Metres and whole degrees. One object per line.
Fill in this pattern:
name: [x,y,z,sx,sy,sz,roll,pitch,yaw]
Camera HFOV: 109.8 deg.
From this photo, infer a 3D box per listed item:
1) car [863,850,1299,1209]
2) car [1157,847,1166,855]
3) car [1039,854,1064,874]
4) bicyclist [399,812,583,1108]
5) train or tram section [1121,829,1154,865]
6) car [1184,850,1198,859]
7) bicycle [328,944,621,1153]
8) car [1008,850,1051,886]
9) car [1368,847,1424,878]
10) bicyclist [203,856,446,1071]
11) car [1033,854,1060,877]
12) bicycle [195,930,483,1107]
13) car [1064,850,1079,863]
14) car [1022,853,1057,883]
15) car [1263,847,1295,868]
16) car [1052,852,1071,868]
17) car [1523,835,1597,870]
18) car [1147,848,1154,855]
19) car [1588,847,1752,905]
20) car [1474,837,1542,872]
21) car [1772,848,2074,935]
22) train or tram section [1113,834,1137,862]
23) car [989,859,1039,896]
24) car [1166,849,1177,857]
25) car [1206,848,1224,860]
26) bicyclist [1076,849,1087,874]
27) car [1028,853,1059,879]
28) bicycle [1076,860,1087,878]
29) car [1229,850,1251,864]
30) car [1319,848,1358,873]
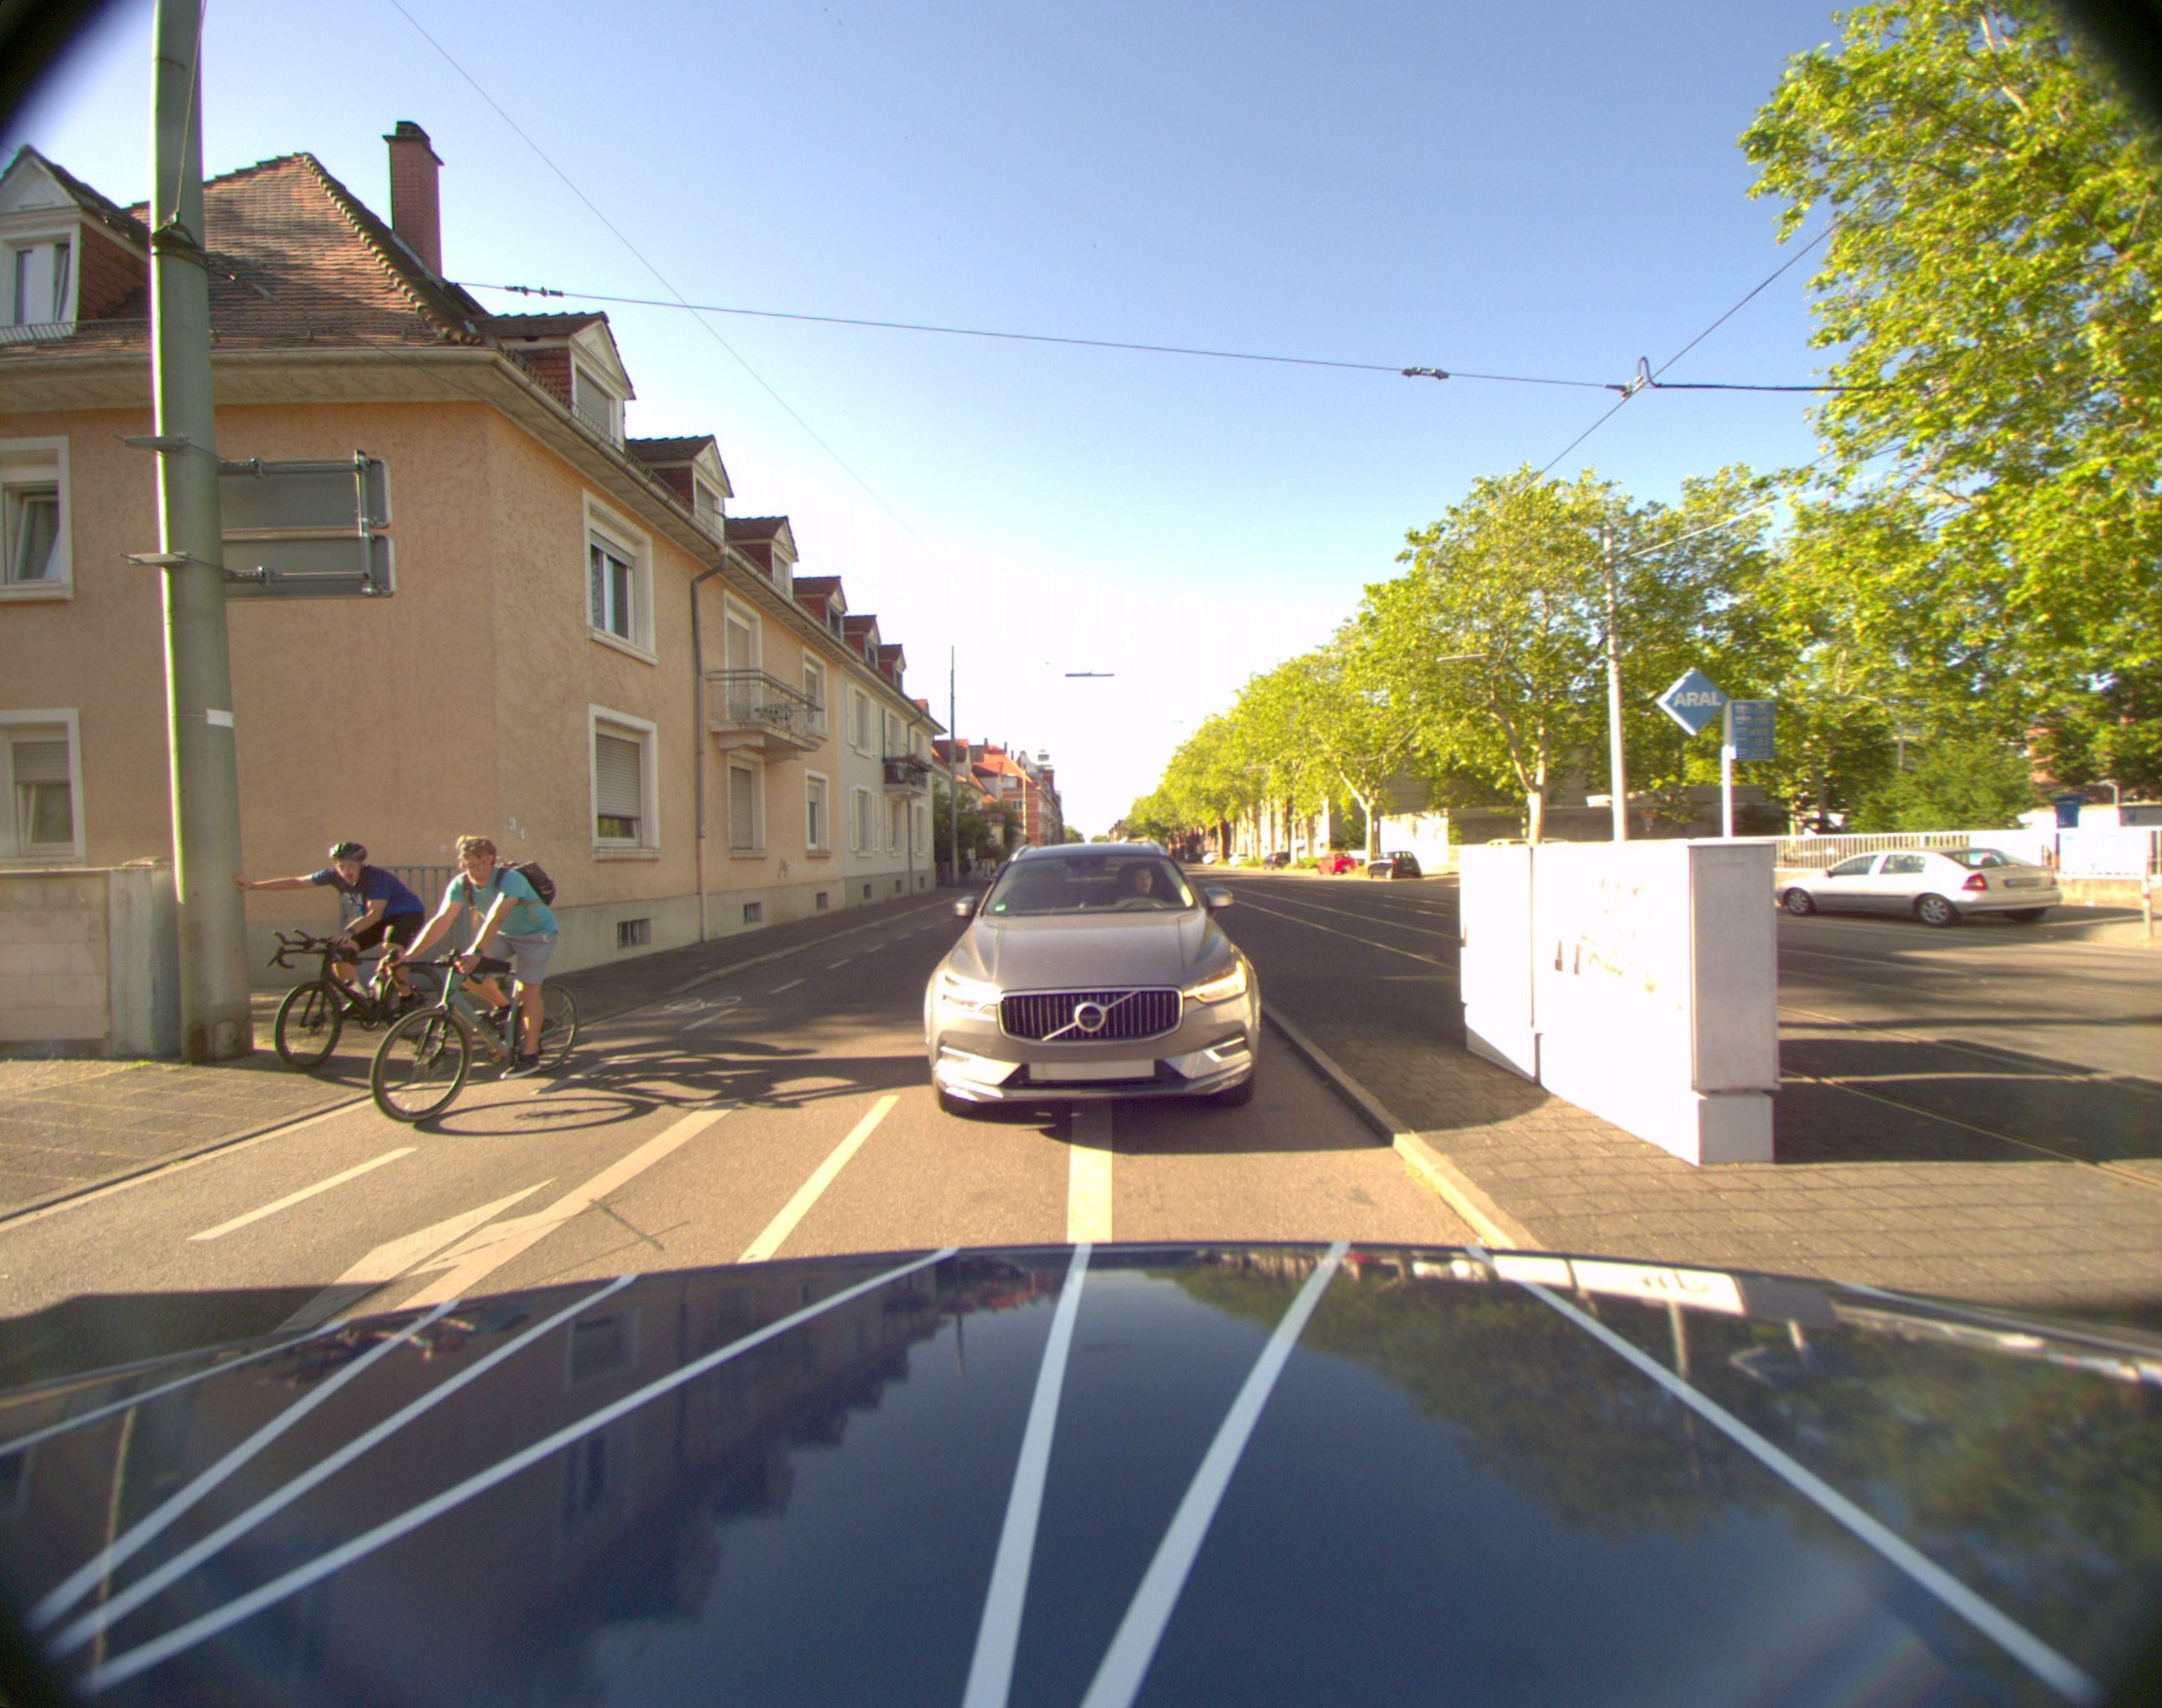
car: [0.028,0.826,5.751,1.998,1.628,4.306,-2,0,1]
car: [20.225,-0.721,191.413,1.695,1.775,3.749,-3,0,1]
car: [-2.558,0.861,67.072,1.793,1.673,3.814,-3,0,2]
bicyclist: [-4.173,0.712,5.447,0.519,1.922,0.946,-1,-2,6]
train or tram section: [6.082,-0.727,83.440,2.717,3.643,12.653,-1,0,0]
car: [18.188,0.076,125.522,1.695,1.440,3.749,-3,0,1]
bicycle: [-4.163,1.263,5.422,0.519,1.084,1.797,-1,-2,6]
car: [-2.829,0.742,42.817,1.793,1.828,5.149,-3,0,2]
car: [16.880,0.428,40.895,1.599,1.498,3.304,-3,0,1]
bicyclist: [-6.222,0.845,6.317,1.051,1.599,0.885,4,0,1]
car: [-2.726,0.887,61.027,1.793,1.673,3.814,-3,0,2]
bicycle: [-6.018,1.265,6.330,0.592,1.062,1.775,4,0,1]
car: [-1.302,0.367,107.100,1.793,1.673,3.814,-3,0,2]
car: [-2.590,0.854,48.482,1.793,1.673,3.814,-3,0,2]
car: [17.131,0.276,65.888,1.695,1.648,3.749,-3,0,1]
car: [-2.159,0.637,85.367,1.793,1.673,3.814,-3,0,2]
car: [23.875,-0.079,38.025,1.599,1.583,3.304,-2,0,1]
car: [19.640,-0.615,214.807,1.695,1.775,3.749,-3,0,1]
car: [16.408,0.561,21.415,1.695,1.395,3.749,-3,0,1]
car: [21.542,0.016,38.472,1.599,1.606,3.304,-2,0,1]
car: [16.223,0.641,14.980,1.695,1.395,3.813,-3,0,1]
train or tram section: [6.212,-0.843,108.692,2.717,3.643,12.653,-1,0,0]
car: [-3.227,1.084,37.044,1.695,1.571,3.815,-3,0,5]
car: [19.255,-0.188,161.876,1.695,1.440,3.749,-3,0,1]
car: [17.784,0.030,100.713,1.695,1.440,3.749,-3,0,1]
bicyclist: [0.051,0.515,51.525,0.685,1.611,0.855,-2,1,1]
car: [-2.637,0.836,54.003,1.793,1.673,3.814,-3,0,2]
bicycle: [0.069,1.013,51.612,0.685,1.098,1.806,-2,1,1]
car: [17.456,0.296,83.542,1.695,1.440,3.749,-3,0,1]
car: [16.872,0.437,49.866,1.599,1.498,2.622,-3,0,1]
